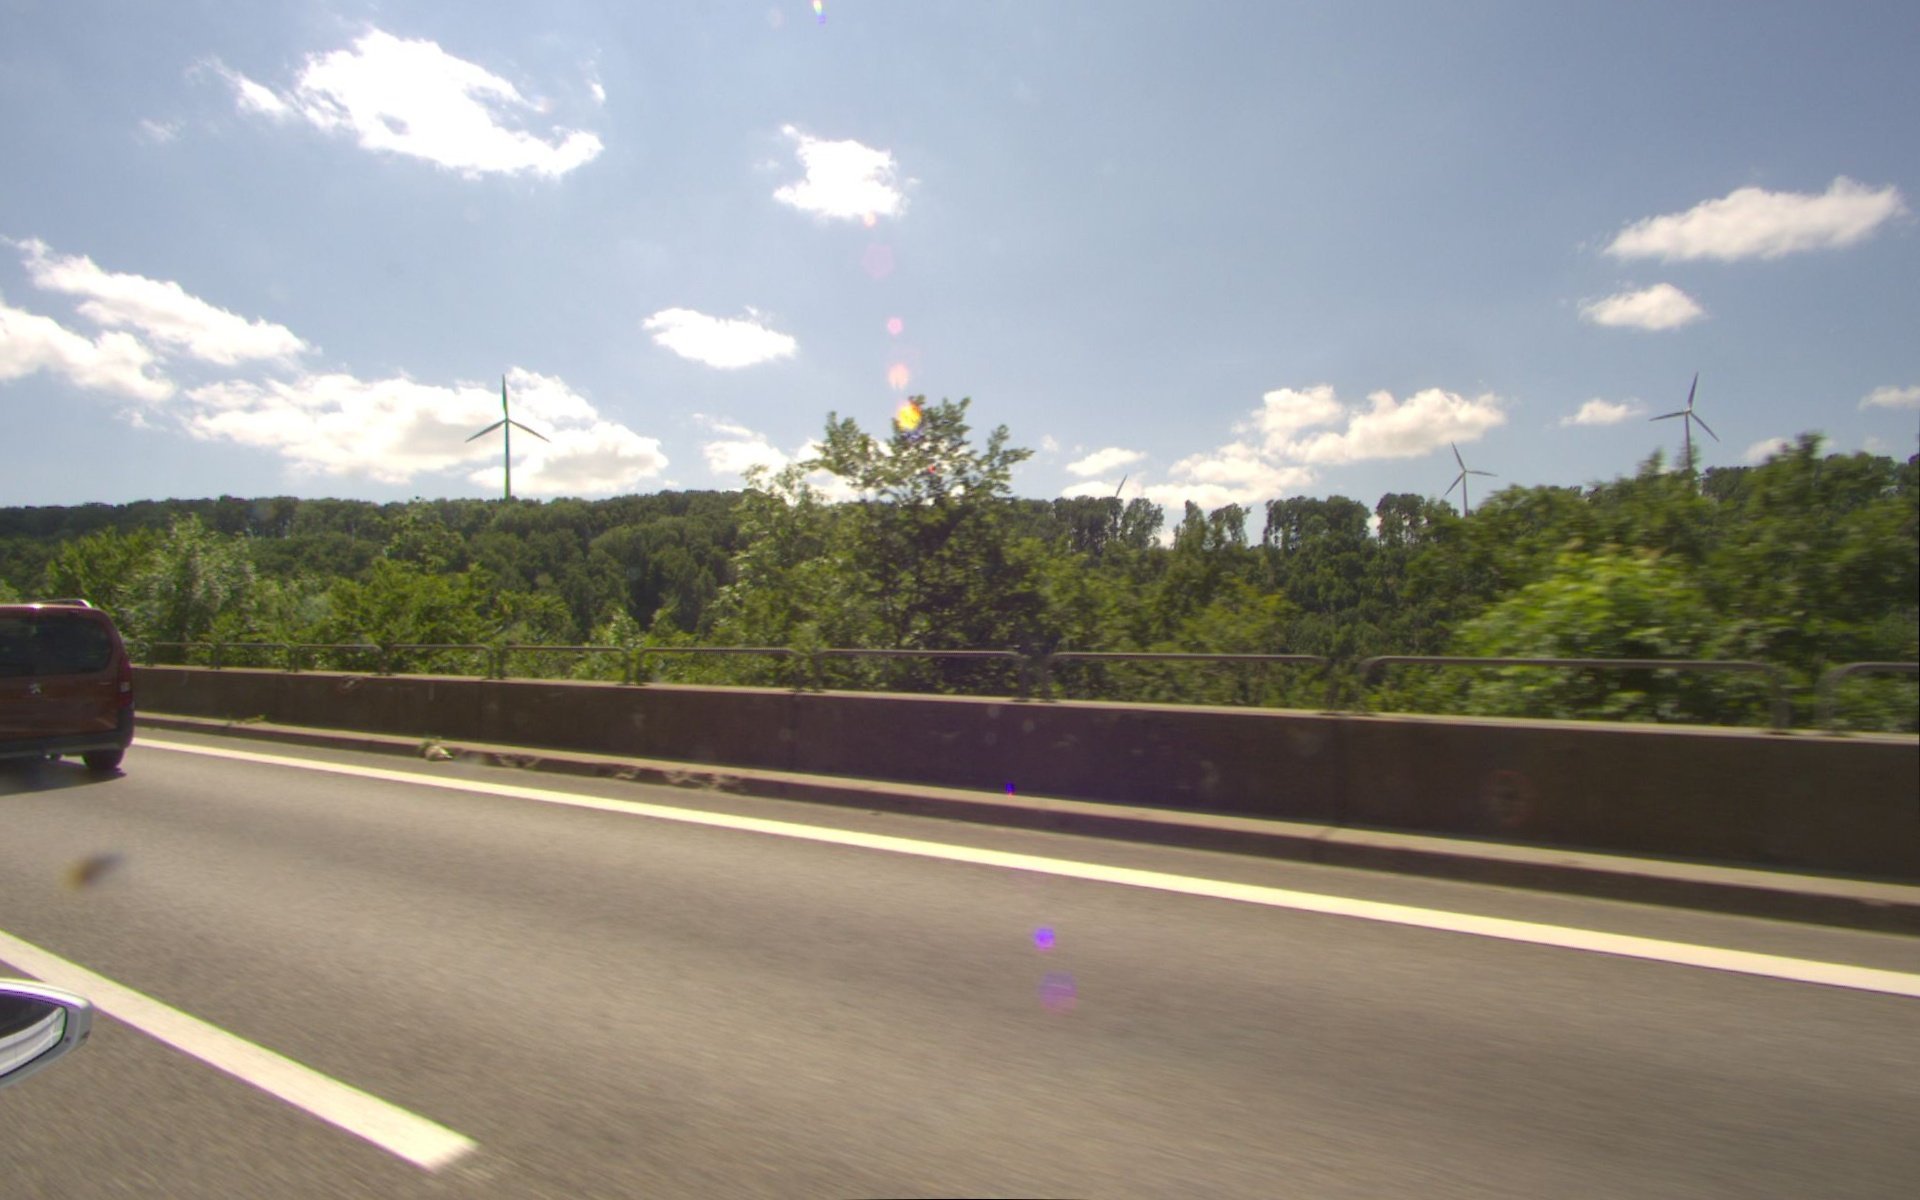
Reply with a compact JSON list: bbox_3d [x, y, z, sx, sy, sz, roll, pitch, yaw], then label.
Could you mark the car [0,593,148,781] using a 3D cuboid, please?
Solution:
[{"bbox_3d":[-11.007,0.894,11.056,4.610,1.807,1.830,-2,-1,33],"label":"car"}]
